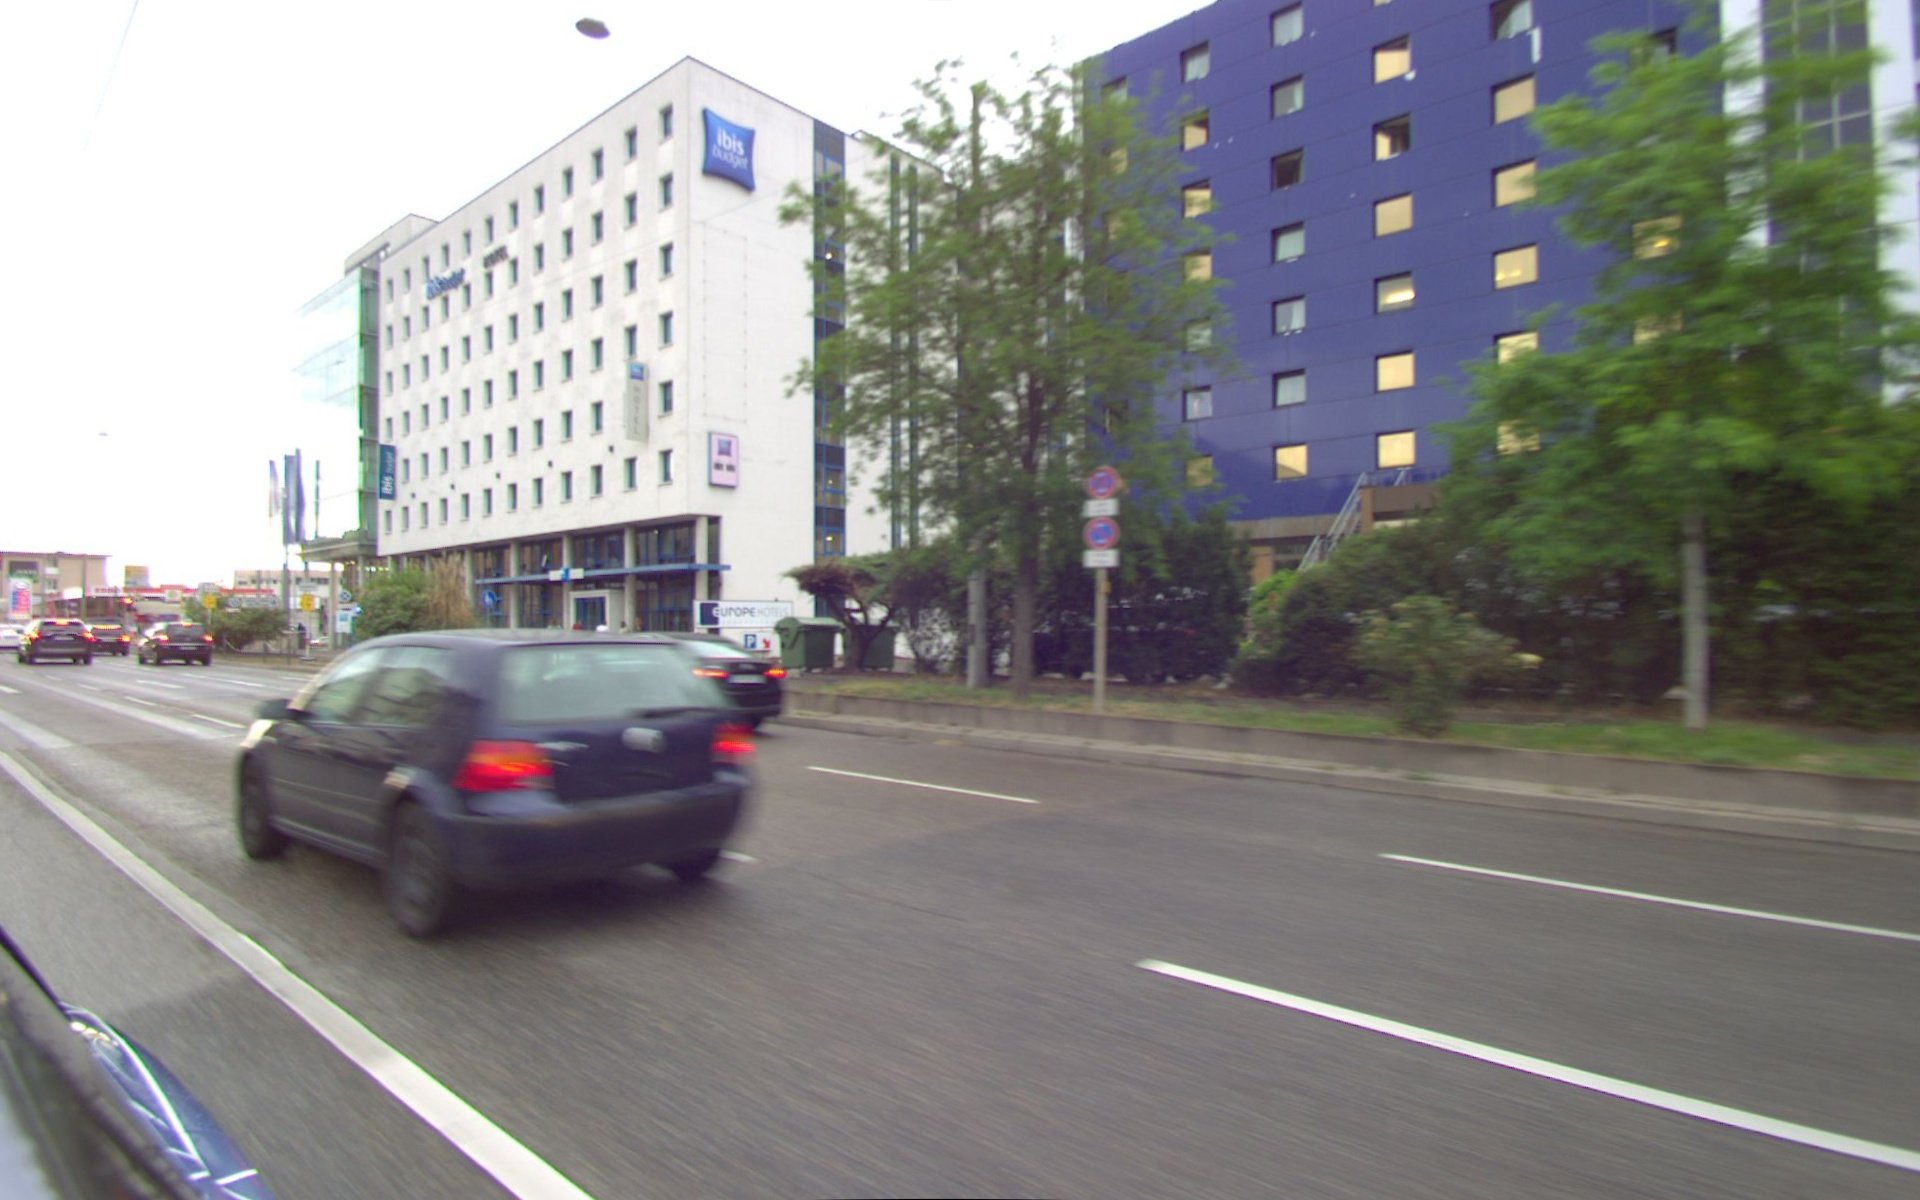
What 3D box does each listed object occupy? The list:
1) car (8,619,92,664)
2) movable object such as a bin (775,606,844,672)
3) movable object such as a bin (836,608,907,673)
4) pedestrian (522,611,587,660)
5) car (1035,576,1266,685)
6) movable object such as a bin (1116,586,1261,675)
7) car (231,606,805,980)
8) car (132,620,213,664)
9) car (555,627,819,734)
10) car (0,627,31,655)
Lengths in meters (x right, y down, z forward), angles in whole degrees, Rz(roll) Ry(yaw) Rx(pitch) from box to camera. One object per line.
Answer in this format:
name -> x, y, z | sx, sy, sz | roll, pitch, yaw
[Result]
car -> -34.091, 1.592, 37.884 | 4.447, 1.568, 1.738 | -3, -6, 41
movable object such as a bin -> -3.587, 0.963, 24.230 | 0.949, 1.502, 1.378 | -5, -6, 35
movable object such as a bin -> -2.162, 0.988, 24.711 | 1.372, 1.502, 0.953 | 4, -3, -38
pedestrian -> -14.893, 1.305, 37.150 | 1.966, 1.734, 1.700 | 0, -2, -30
car -> 3.854, 0.599, 20.888 | 4.314, 2.029, 1.817 | 1, -3, 41
movable object such as a bin -> 7.573, 1.061, 33.097 | 2.161, 2.648, 5.566 | 1, -3, 41
car -> -2.782, 0.828, 5.964 | 3.818, 1.497, 1.642 | -2, -2, 41
car -> -30.296, 1.641, 38.918 | 4.032, 1.578, 1.690 | -3, -5, 42
car -> -4.118, 1.122, 14.850 | 4.445, 1.334, 1.603 | -2, -4, 43
car -> -49.747, 2.096, 52.416 | 4.960, 1.397, 1.798 | -1, -3, 41
